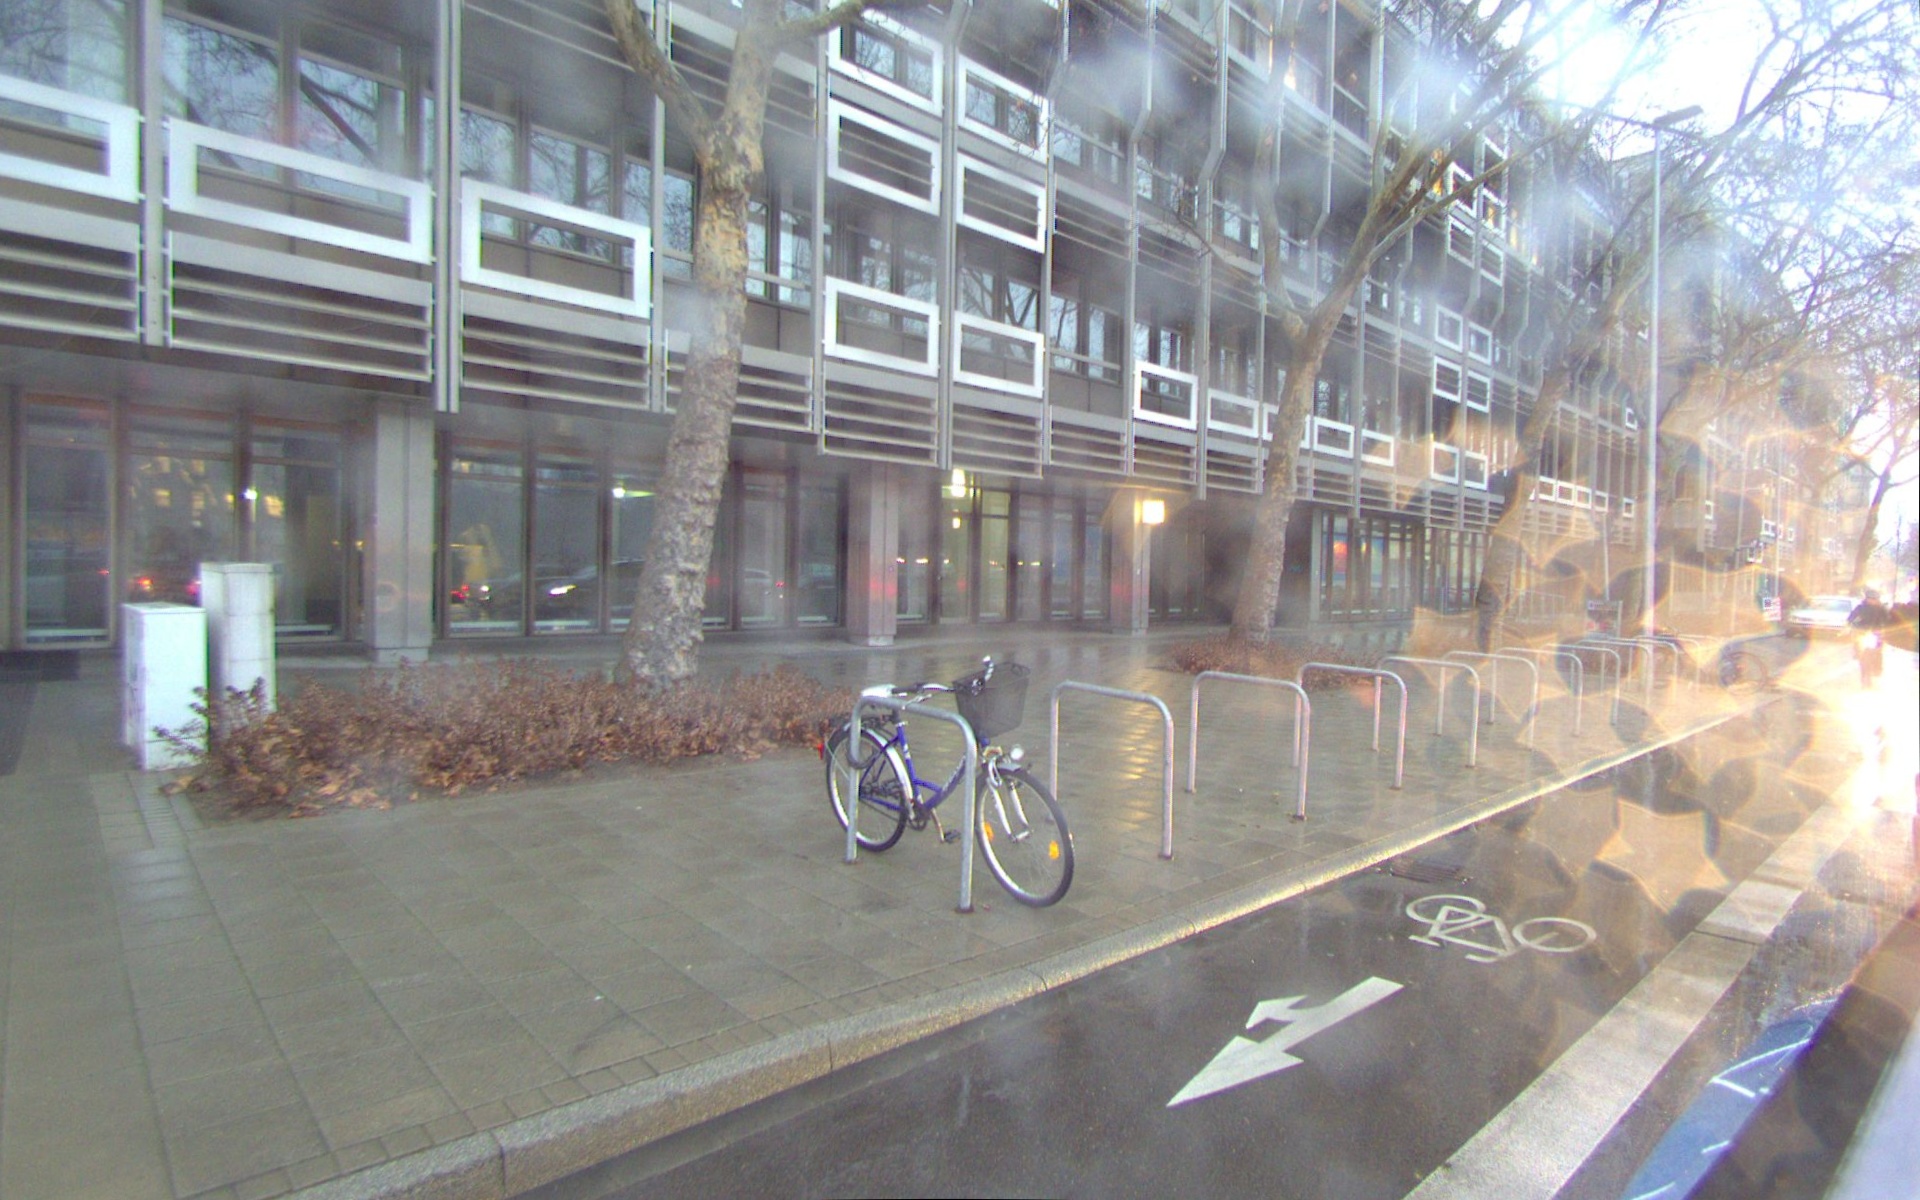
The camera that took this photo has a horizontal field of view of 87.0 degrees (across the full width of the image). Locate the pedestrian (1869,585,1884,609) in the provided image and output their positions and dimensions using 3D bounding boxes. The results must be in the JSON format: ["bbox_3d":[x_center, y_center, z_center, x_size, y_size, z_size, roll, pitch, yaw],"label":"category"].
[{"bbox_3d":[68.872,-0.214,76.054,0.765,1.771,0.913,2,2,45],"label":"pedestrian"}]

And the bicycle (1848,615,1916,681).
[{"bbox_3d":[16.656,0.837,18.268,1.752,1.108,0.709,1,0,-41],"label":"bicycle"}]

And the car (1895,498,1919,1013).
[{"bbox_3d":[5.507,0.546,4.331,3.932,1.864,1.875,-1,0,-42],"label":"car"}]

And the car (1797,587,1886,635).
[{"bbox_3d":[29.426,0.316,33.735,3.930,1.482,1.711,-1,1,-41],"label":"car"}]

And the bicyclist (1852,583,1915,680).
[{"bbox_3d":[16.676,0.548,18.265,0.947,1.681,0.704,1,1,-41],"label":"bicyclist"}]

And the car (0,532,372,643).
[{"bbox_3d":[-10.616,-0.211,14.117,3.929,1.326,1.998,0,3,-40],"label":"car"}]

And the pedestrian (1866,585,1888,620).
[{"bbox_3d":[48.173,0.114,53.176,0.765,1.771,0.913,2,2,45],"label":"pedestrian"}]

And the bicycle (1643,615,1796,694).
[{"bbox_3d":[11.683,0.800,15.603,0.864,1.004,1.704,0,4,-41],"label":"bicycle"}]

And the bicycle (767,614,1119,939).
[{"bbox_3d":[-0.169,0.712,4.859,0.629,1.145,1.810,2,2,-41],"label":"bicycle"}]

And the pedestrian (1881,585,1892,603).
[{"bbox_3d":[91.884,-0.567,100.342,0.765,1.771,0.913,2,2,45],"label":"pedestrian"}]

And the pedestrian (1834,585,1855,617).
[{"bbox_3d":[50.056,0.053,57.266,0.765,1.771,0.913,2,2,45],"label":"pedestrian"}]
